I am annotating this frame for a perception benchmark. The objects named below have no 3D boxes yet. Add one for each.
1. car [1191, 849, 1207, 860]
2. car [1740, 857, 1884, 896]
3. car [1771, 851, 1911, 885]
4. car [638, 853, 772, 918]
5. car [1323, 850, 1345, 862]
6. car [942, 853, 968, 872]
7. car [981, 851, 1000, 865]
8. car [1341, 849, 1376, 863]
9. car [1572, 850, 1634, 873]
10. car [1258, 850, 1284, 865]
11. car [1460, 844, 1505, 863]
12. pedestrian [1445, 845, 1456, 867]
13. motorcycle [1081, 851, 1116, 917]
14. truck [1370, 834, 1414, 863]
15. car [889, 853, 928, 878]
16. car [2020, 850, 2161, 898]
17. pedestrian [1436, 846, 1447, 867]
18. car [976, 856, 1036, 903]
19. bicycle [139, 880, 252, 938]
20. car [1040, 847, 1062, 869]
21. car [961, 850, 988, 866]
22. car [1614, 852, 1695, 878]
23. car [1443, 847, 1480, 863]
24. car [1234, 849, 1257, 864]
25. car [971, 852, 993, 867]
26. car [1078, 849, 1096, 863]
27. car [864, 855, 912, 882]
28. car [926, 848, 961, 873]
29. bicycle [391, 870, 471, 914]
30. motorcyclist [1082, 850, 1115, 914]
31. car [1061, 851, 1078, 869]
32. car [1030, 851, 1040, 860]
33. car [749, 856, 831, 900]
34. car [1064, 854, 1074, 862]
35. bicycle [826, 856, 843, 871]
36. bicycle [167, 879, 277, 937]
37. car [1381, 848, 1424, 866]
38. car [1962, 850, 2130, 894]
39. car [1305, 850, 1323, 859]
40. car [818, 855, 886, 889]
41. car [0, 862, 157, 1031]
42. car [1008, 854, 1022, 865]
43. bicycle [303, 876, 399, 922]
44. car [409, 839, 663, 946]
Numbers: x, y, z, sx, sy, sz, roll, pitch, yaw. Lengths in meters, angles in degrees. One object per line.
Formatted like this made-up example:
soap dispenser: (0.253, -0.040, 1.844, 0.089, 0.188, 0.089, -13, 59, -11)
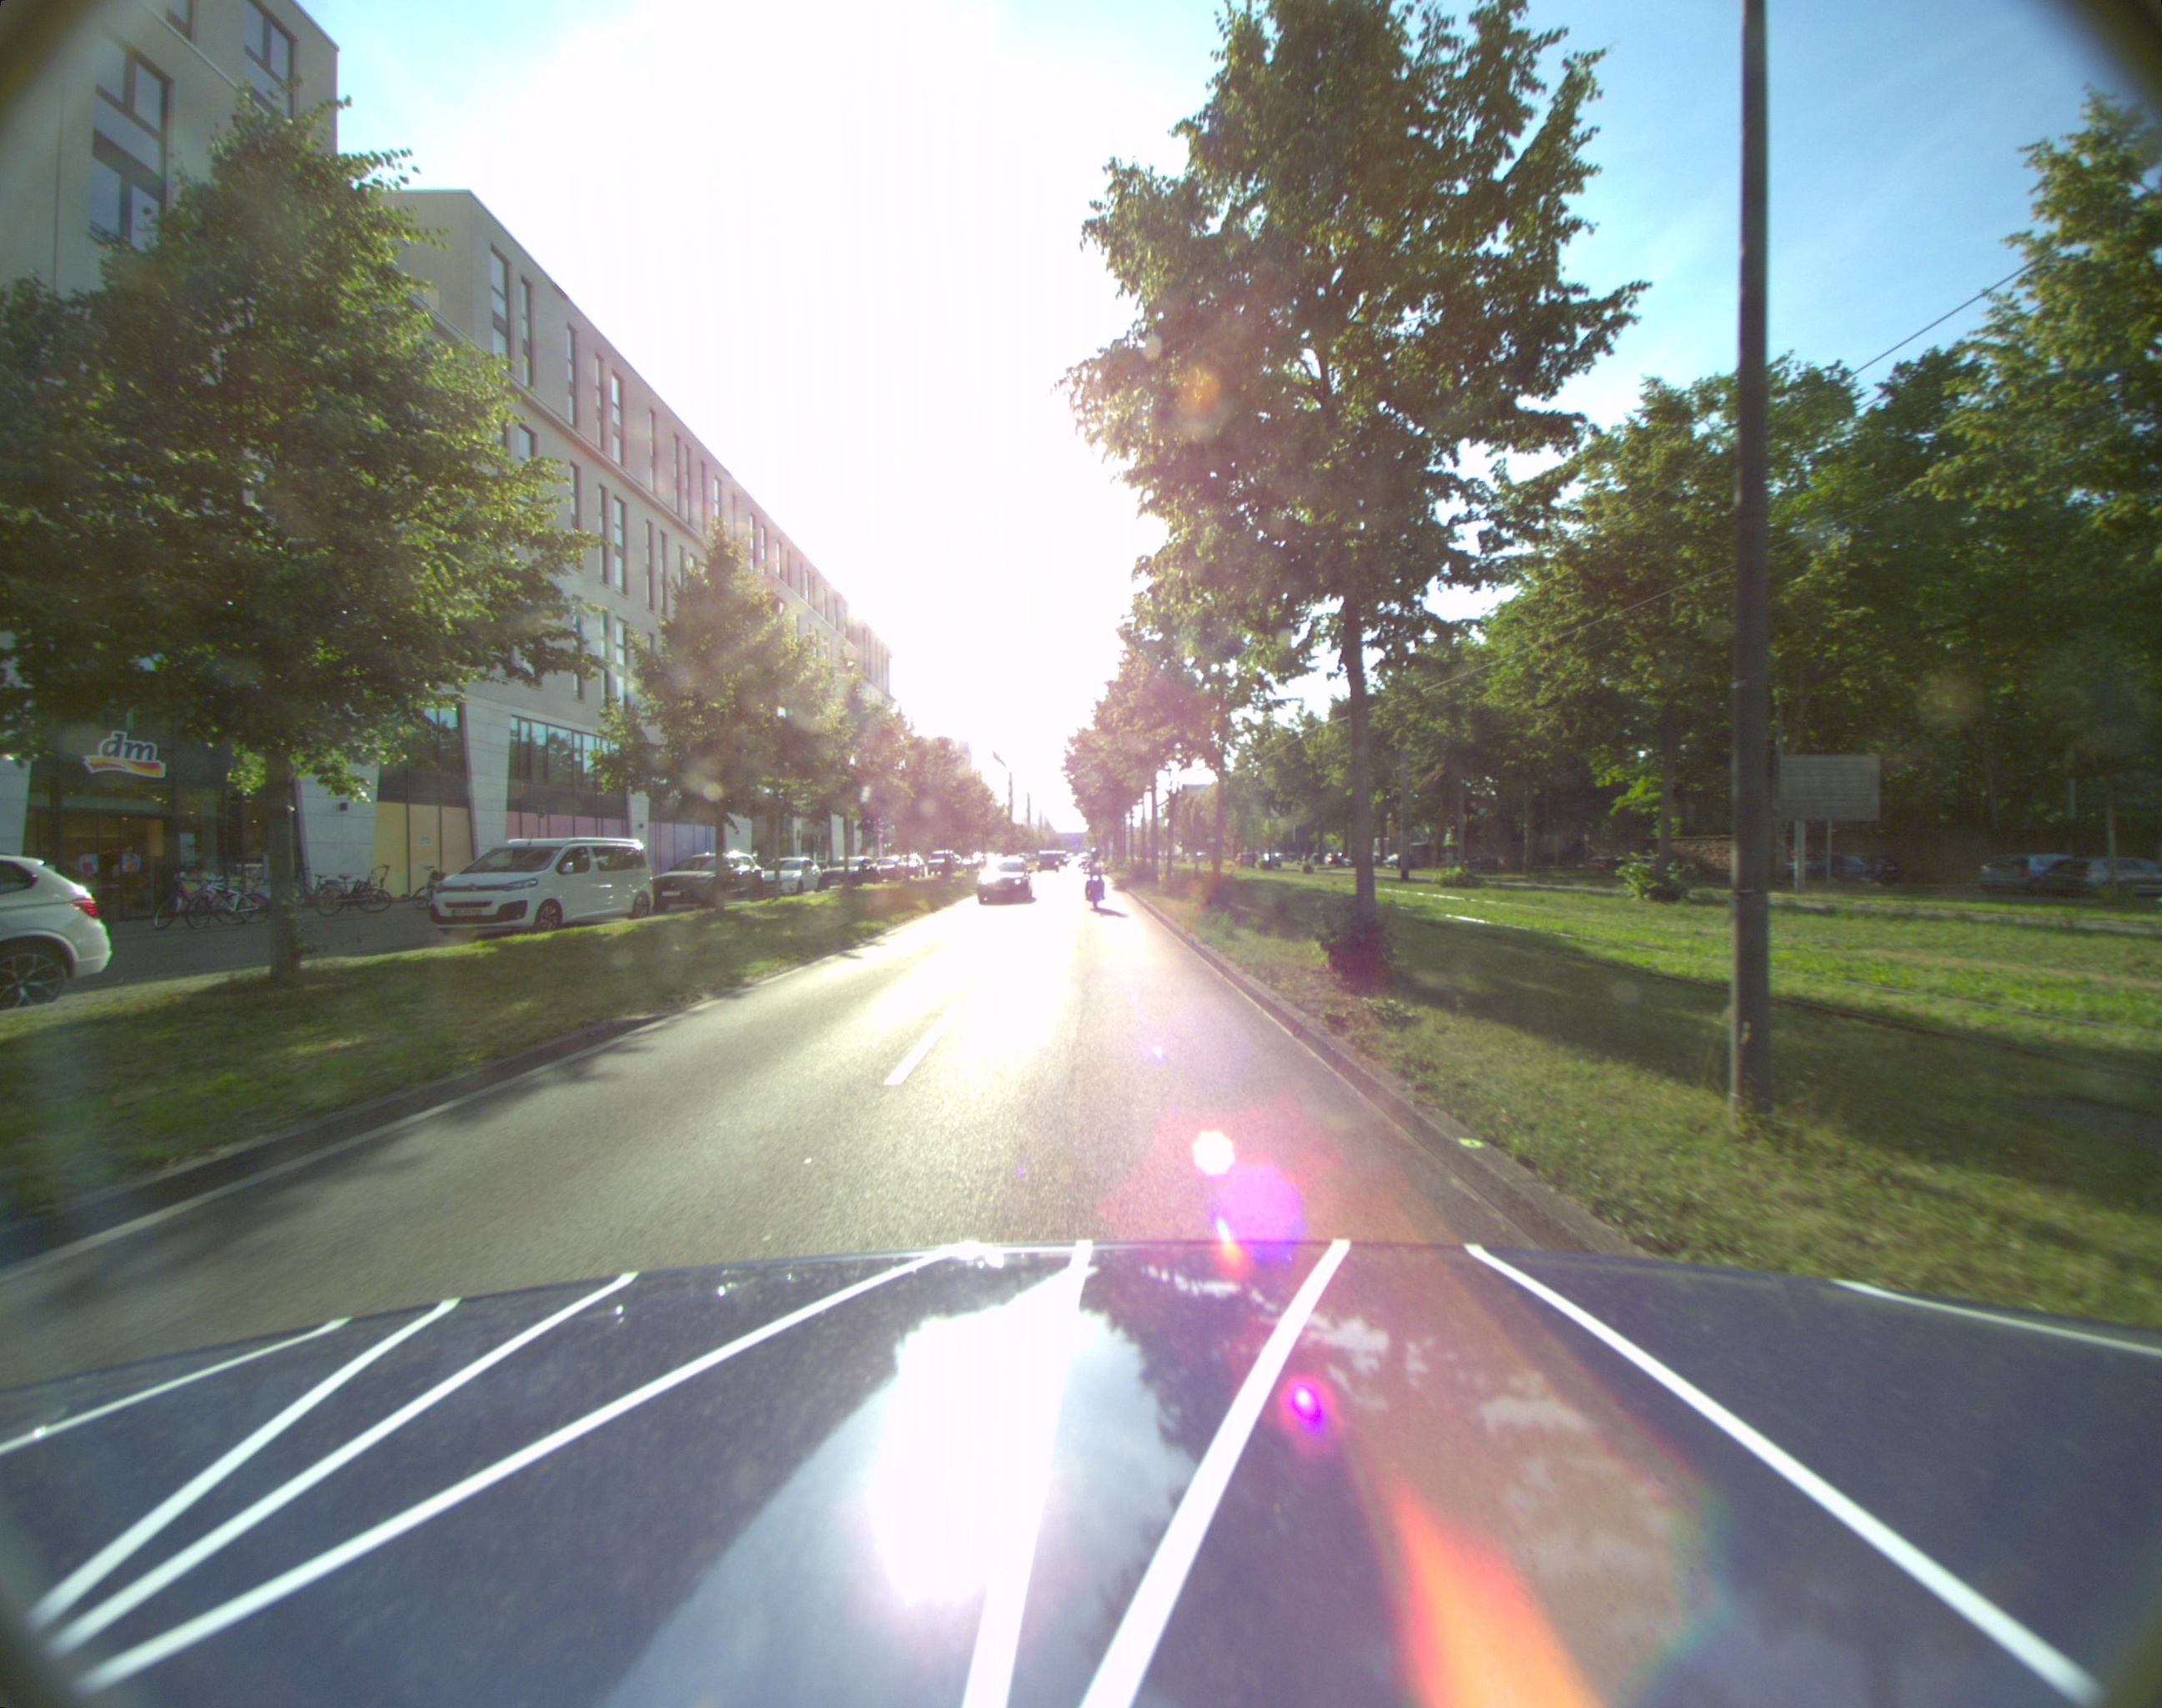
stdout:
car: (17.694, 0.053, 114.068, 1.614, 1.523, 4.131, -2, 1, 0)
car: (30.201, 0.885, 31.558, 1.688, 1.427, 4.030, -3, 1, -15)
car: (35.914, 0.637, 36.068, 1.793, 1.434, 4.354, -3, 1, -17)
car: (-11.126, 0.855, 22.874, 1.732, 1.641, 4.339, -2, 1, 1)
car: (29.179, 0.200, 87.841, 1.586, 1.269, 3.961, -2, 1, 7)
car: (-11.387, 0.756, 68.720, 1.765, 1.479, 4.209, -3, 1, -2)
car: (-11.499, 0.496, 96.349, 1.840, 1.521, 4.327, -2, 1, 0)
car: (26.838, 0.185, 73.641, 1.680, 1.236, 4.900, -2, 1, 1)
car: (35.931, 0.494, 52.434, 1.722, 1.434, 3.911, -2, 1, 2)
car: (20.657, 0.382, 82.790, 1.686, 1.467, 4.812, 1, 1, 0)
car: (36.873, -0.051, 69.881, 1.835, 1.603, 4.474, -2, 1, 1)
pedestrian: (25.333, 0.109, 52.058, 0.387, 1.467, 0.601, -3, 1, 0)
motorcycle: (0.462, 0.782, 21.172, 0.798, 1.659, 2.633, -3, 1, -1)
truck: (40.034, -0.737, 97.942, 2.895, 3.496, 7.945, -2, 1, 5)
car: (-11.496, 0.731, 51.003, 1.873, 1.483, 4.412, -3, 1, -4)
car: (36.460, 0.707, 26.928, 3.865, 1.477, 1.744, -2, 1, 8)
pedestrian: (24.695, 0.172, 52.080, 0.387, 1.467, 0.601, -3, 1, 0)
car: (-2.644, 0.869, 27.565, 1.698, 1.416, 4.038, -2, 1, 0)
bicycle: (-18.801, 1.137, 16.180, 0.345, 1.075, 1.742, 3, 1, 1)
car: (-2.675, 0.336, 68.643, 1.803, 1.881, 4.820, -2, 1, 0)
car: (-11.109, 0.373, 79.344, 1.764, 1.479, 4.919, -2, 1, 3)
car: (35.401, 0.657, 47.058, 1.790, 1.434, 4.361, -2, 1, 2)
car: (37.700, 0.089, 75.468, 1.701, 1.367, 4.386, -2, 1, 4)
car: (17.490, 0.247, 81.006, 1.587, 1.385, 3.696, -2, 1, 0)
car: (-11.135, 0.580, 85.730, 1.764, 1.589, 4.327, -2, 1, 0)
car: (0.620, 0.224, 86.991, 1.756, 1.427, 4.034, -3, 1, -3)
car: (-11.279, 0.811, 44.671, 1.733, 1.424, 4.113, -3, 1, -1)
car: (-11.249, 0.530, 62.442, 1.899, 1.863, 4.843, -2, 1, 0)
bicycle: (-18.339, 1.035, 21.494, 0.420, 1.093, 2.108, 3, 1, 1)
motorcyclist: (0.466, 0.754, 21.157, 0.814, 1.700, 0.843, -3, 1, -1)
car: (-1.376, 0.743, 92.398, 1.909, 2.002, 3.999, -2, 1, 0)
car: (-10.297, 0.384, 170.430, 1.740, 1.777, 3.893, -2, 1, 0)
car: (-11.030, 0.860, 29.082, 1.620, 1.404, 4.166, -3, 1, -2)
car: (-2.523, 0.752, 161.219, 1.840, 1.521, 4.327, -2, 1, 0)
bicycle: (-18.291, 0.713, 56.377, 0.512, 1.064, 2.077, 1, 1, 1)
bicycle: (-18.307, 1.115, 16.242, 0.345, 1.075, 1.732, 3, 1, 1)
car: (27.821, 0.229, 65.880, 1.835, 1.423, 4.474, -2, 1, 1)
car: (36.978, 0.678, 29.213, 3.865, 1.477, 1.744, -2, 1, 8)
car: (30.211, 0.080, 98.497, 1.301, 1.101, 3.772, -2, 1, 3)
car: (-11.228, 0.861, 37.622, 1.732, 1.424, 4.721, -2, 1, 2)
car: (-11.313, 0.916, 6.197, 1.735, 1.620, 4.849, 0, 0, -2)
car: (-10.759, 0.894, 124.299, 1.840, 1.521, 4.327, -2, 1, 0)
bicycle: (-18.383, 1.114, 19.208, 0.419, 0.995, 2.043, 3, 1, 1)
car: (-11.262, 0.665, 16.294, 1.842, 1.865, 5.030, -3, 1, -2)
